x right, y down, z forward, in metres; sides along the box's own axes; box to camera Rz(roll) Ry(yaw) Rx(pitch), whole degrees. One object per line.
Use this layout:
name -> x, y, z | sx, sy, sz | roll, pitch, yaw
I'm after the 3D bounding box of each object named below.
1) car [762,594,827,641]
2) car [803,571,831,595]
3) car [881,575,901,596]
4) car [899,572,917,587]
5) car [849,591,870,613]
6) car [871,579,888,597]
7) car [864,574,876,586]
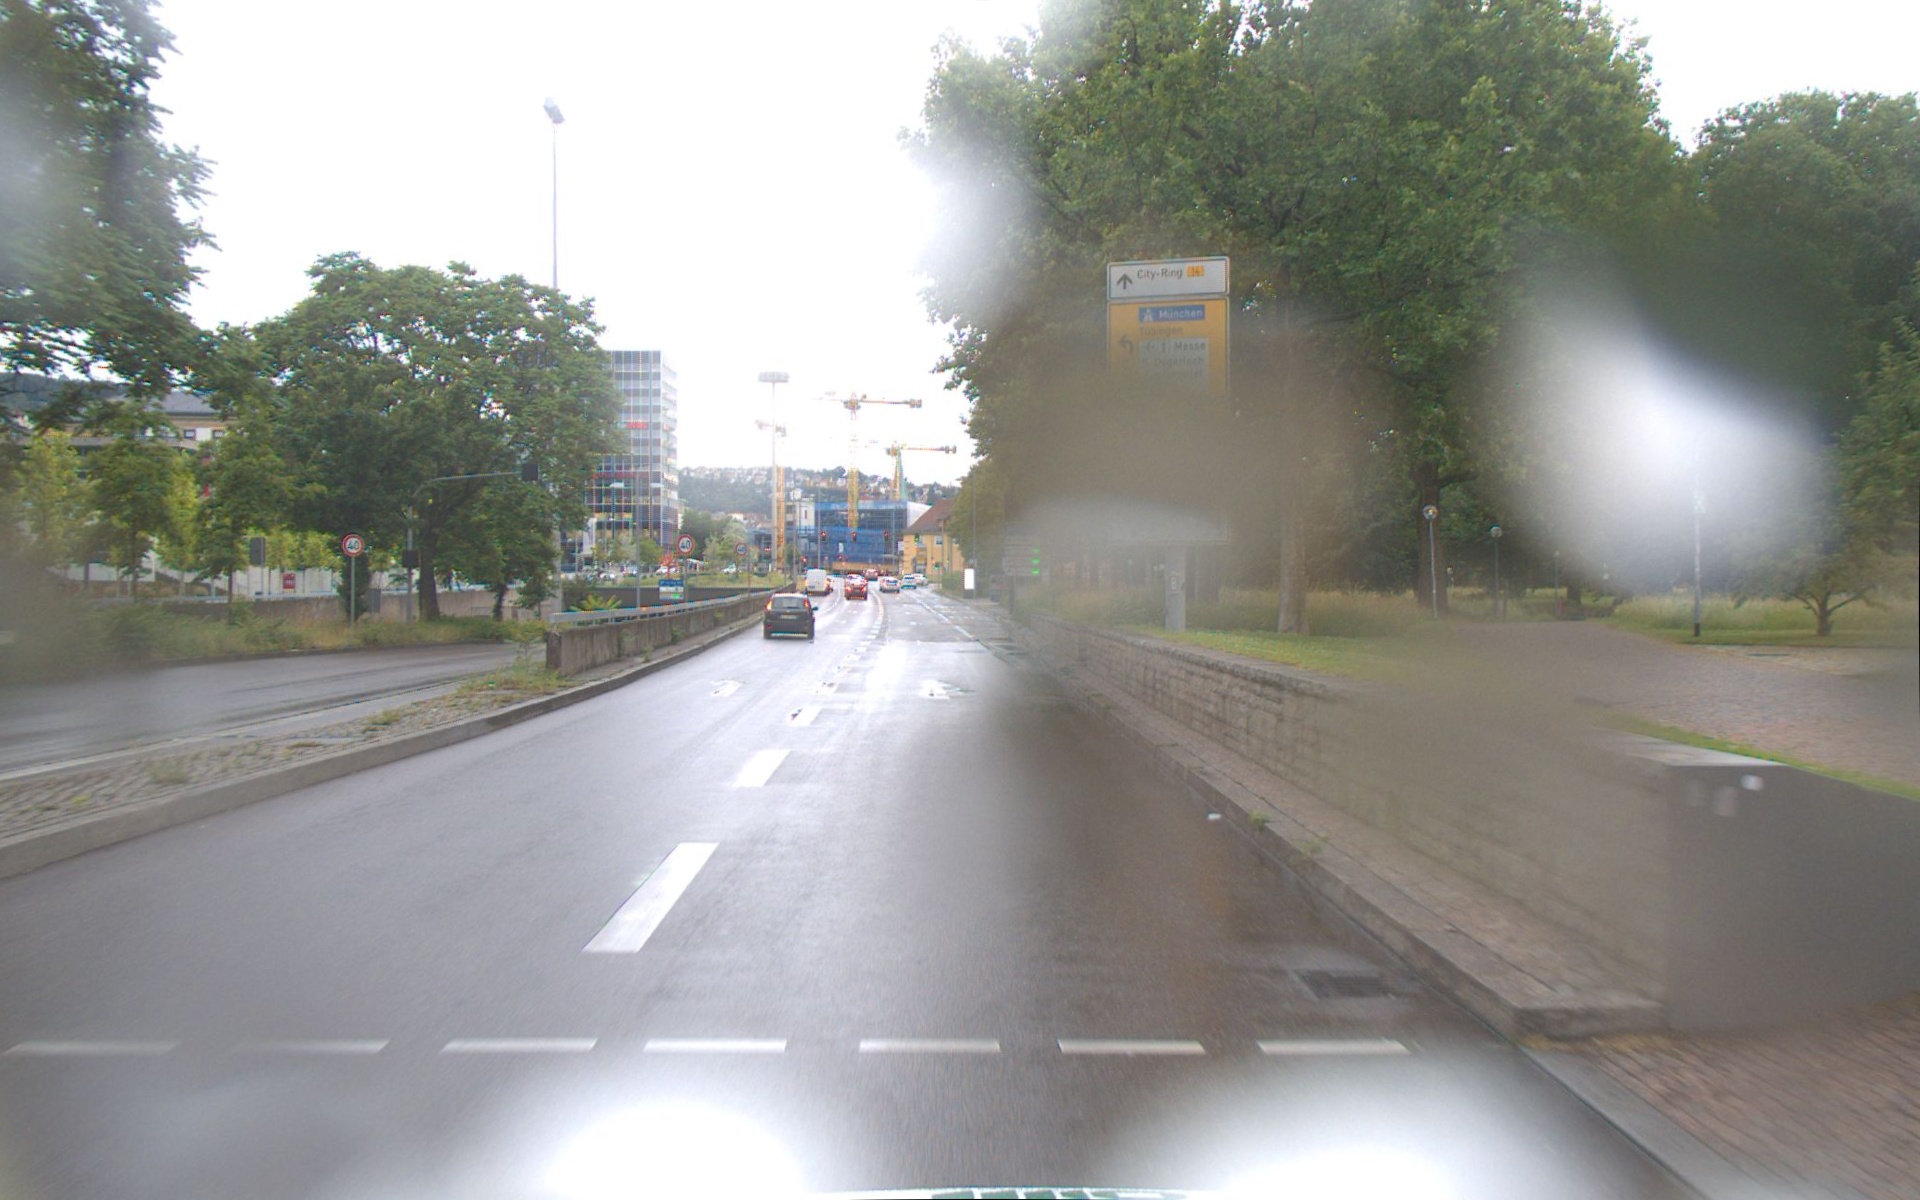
car -> -5.486, 0.581, 54.478 | 1.810, 1.441, 3.830 | -2, -1, -10
car -> -13.047, -1.524, 151.187 | 2.175, 2.049, 3.999 | -2, -1, -1
car -> -7.142, -1.515, 170.446 | 1.947, 2.049, 3.998 | -2, -1, -2
car -> -6.037, -2.386, 191.882 | 1.953, 1.627, 3.999 | -2, -1, -1
car -> -8.556, 0.214, 141.178 | 1.704, 1.802, 3.997 | -2, -1, -4
car -> -8.618, -1.280, 177.011 | 1.678, 1.719, 3.848 | -2, -1, -1
car -> -12.886, -2.878, 237.092 | 1.686, 1.584, 3.583 | 0, 0, -1
